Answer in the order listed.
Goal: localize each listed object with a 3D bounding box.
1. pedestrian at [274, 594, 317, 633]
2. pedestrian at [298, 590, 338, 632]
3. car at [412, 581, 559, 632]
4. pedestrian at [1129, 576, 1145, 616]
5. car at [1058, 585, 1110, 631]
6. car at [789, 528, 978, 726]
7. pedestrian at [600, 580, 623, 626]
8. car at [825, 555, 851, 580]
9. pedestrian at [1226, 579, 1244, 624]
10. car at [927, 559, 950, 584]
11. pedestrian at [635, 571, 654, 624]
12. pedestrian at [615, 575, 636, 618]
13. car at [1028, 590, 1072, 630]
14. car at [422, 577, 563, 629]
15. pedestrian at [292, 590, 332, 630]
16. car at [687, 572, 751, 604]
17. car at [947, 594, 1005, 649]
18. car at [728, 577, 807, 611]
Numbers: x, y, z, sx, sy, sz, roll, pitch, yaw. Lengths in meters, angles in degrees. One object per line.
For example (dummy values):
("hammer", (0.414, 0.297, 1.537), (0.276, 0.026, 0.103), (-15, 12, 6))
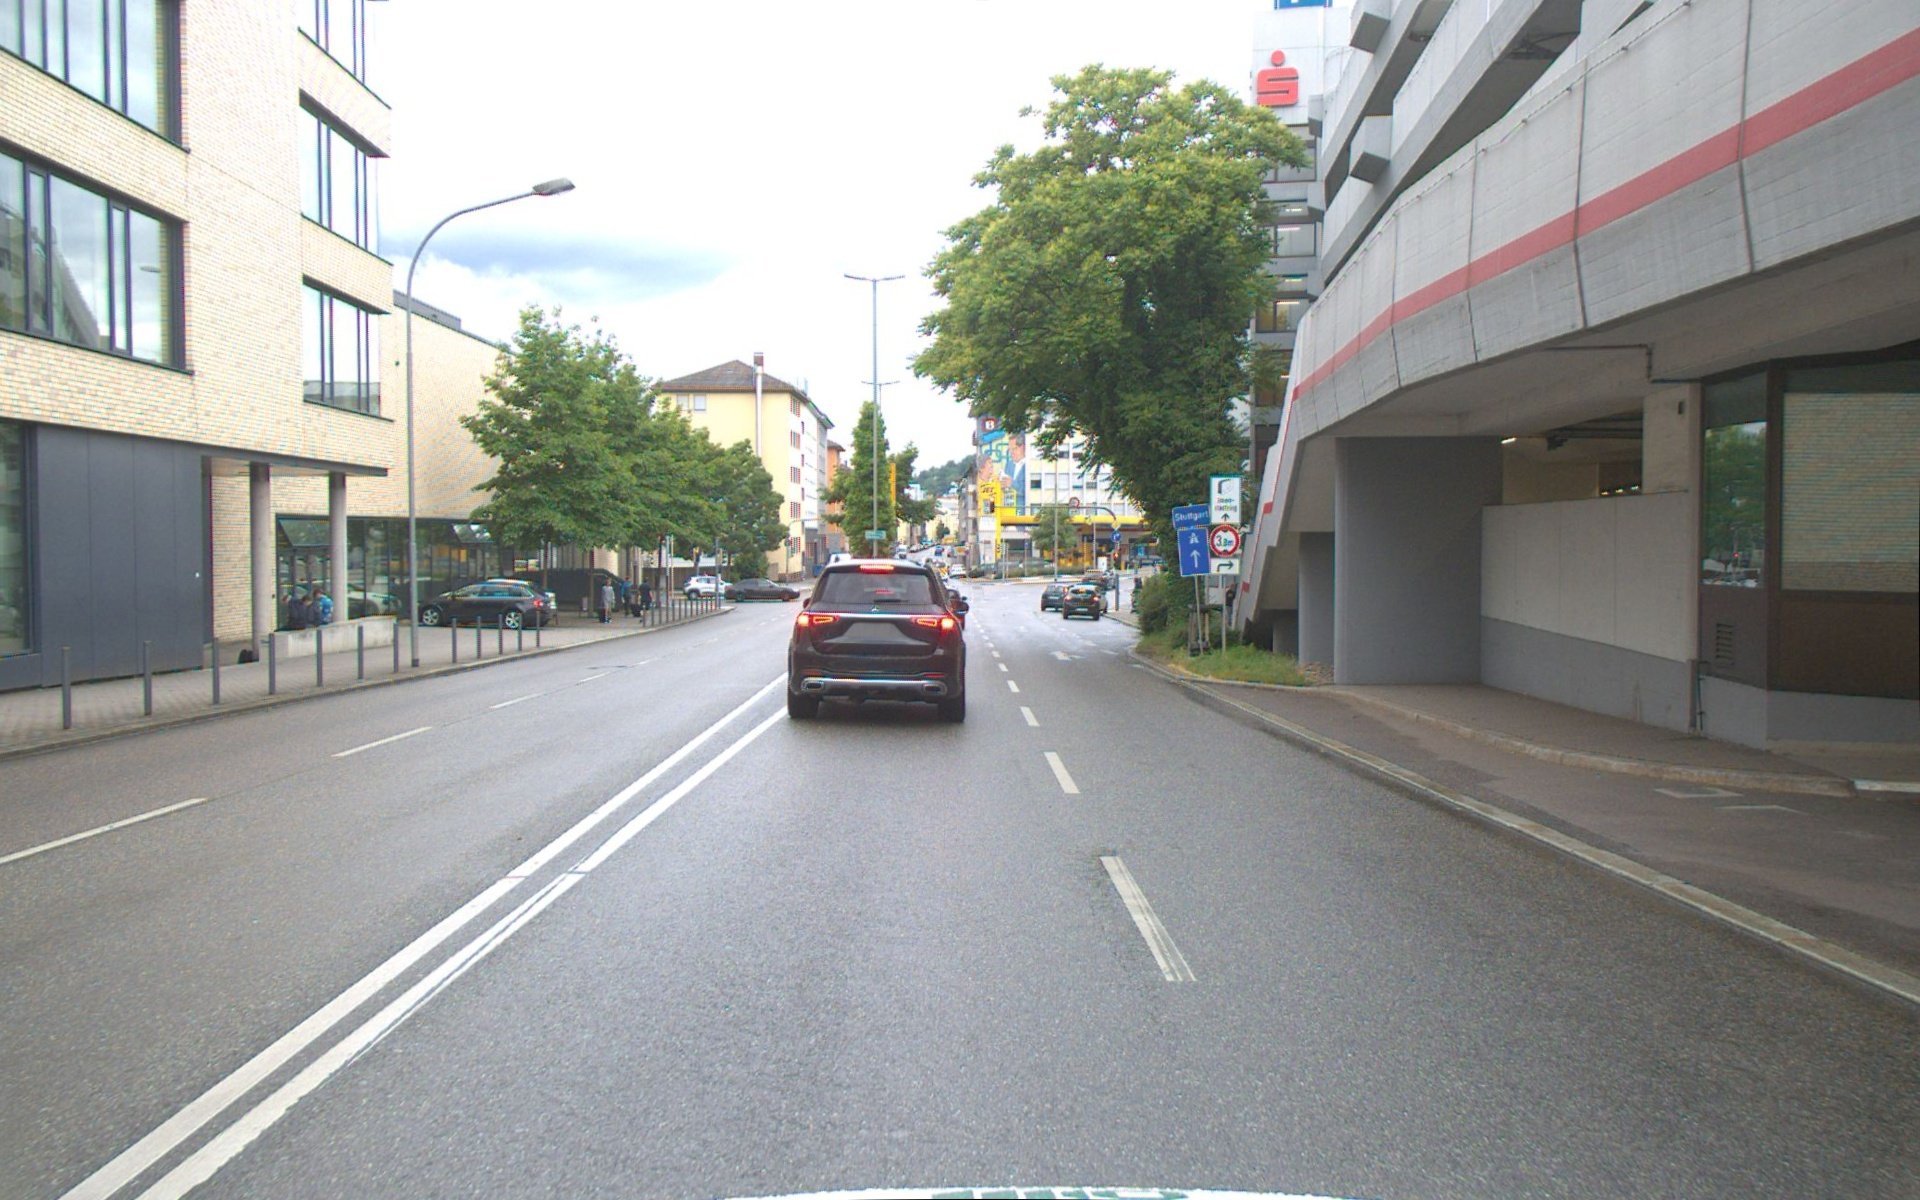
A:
("pedestrian", (-14.235, 0.286, 35.425), (0.585, 0.800, 0.760), (2, 0, -1))
("pedestrian", (-14.375, 0.244, 37.063), (0.667, 0.901, 0.524), (2, 0, -1))
("car", (-15.602, 0.203, 54.570), (4.383, 1.615, 1.997), (0, 1, -7))
("pedestrian", (8.868, -0.194, 82.896), (0.648, 1.951, 0.729), (2, -1, 13))
("car", (5.743, 0.350, 76.988), (1.953, 2.049, 3.998), (1, 1, -2))
("car", (-0.871, 0.295, 19.574), (1.953, 2.049, 3.998), (2, 0, -2))
("pedestrian", (-13.411, 0.109, 63.638), (0.662, 1.726, 0.479), (5, -1, 1))
("car", (-10.313, -2.756, 140.078), (1.953, 1.908, 5.139), (2, 0, -2))
("pedestrian", (9.674, 0.061, 58.122), (0.539, 1.559, 0.488), (2, -1, 6))
("car", (-1.907, -2.503, 145.040), (1.953, 2.048, 3.999), (2, 1, -2))
("pedestrian", (-12.343, -0.095, 64.664), (0.576, 2.049, 0.749), (2, 0, -3))
("pedestrian", (-14.165, -0.144, 70.090), (0.674, 1.756, 0.754), (2, -1, -2))
("car", (4.819, 0.540, 88.820), (1.953, 2.049, 3.998), (2, 0, -2))
("car", (-15.971, 0.084, 56.676), (4.331, 1.601, 1.998), (1, 2, -6))
("pedestrian", (-14.240, 0.212, 36.358), (0.574, 0.859, 0.727), (1, 0, -1))
("car", (-15.289, -0.738, 104.848), (3.918, 1.976, 1.994), (0, 0, -13))
("car", (0.511, 0.706, 55.490), (1.669, 1.746, 3.441), (2, 0, -4))
("car", (-11.766, -0.366, 100.913), (4.715, 2.049, 1.996), (0, 1, -8))
